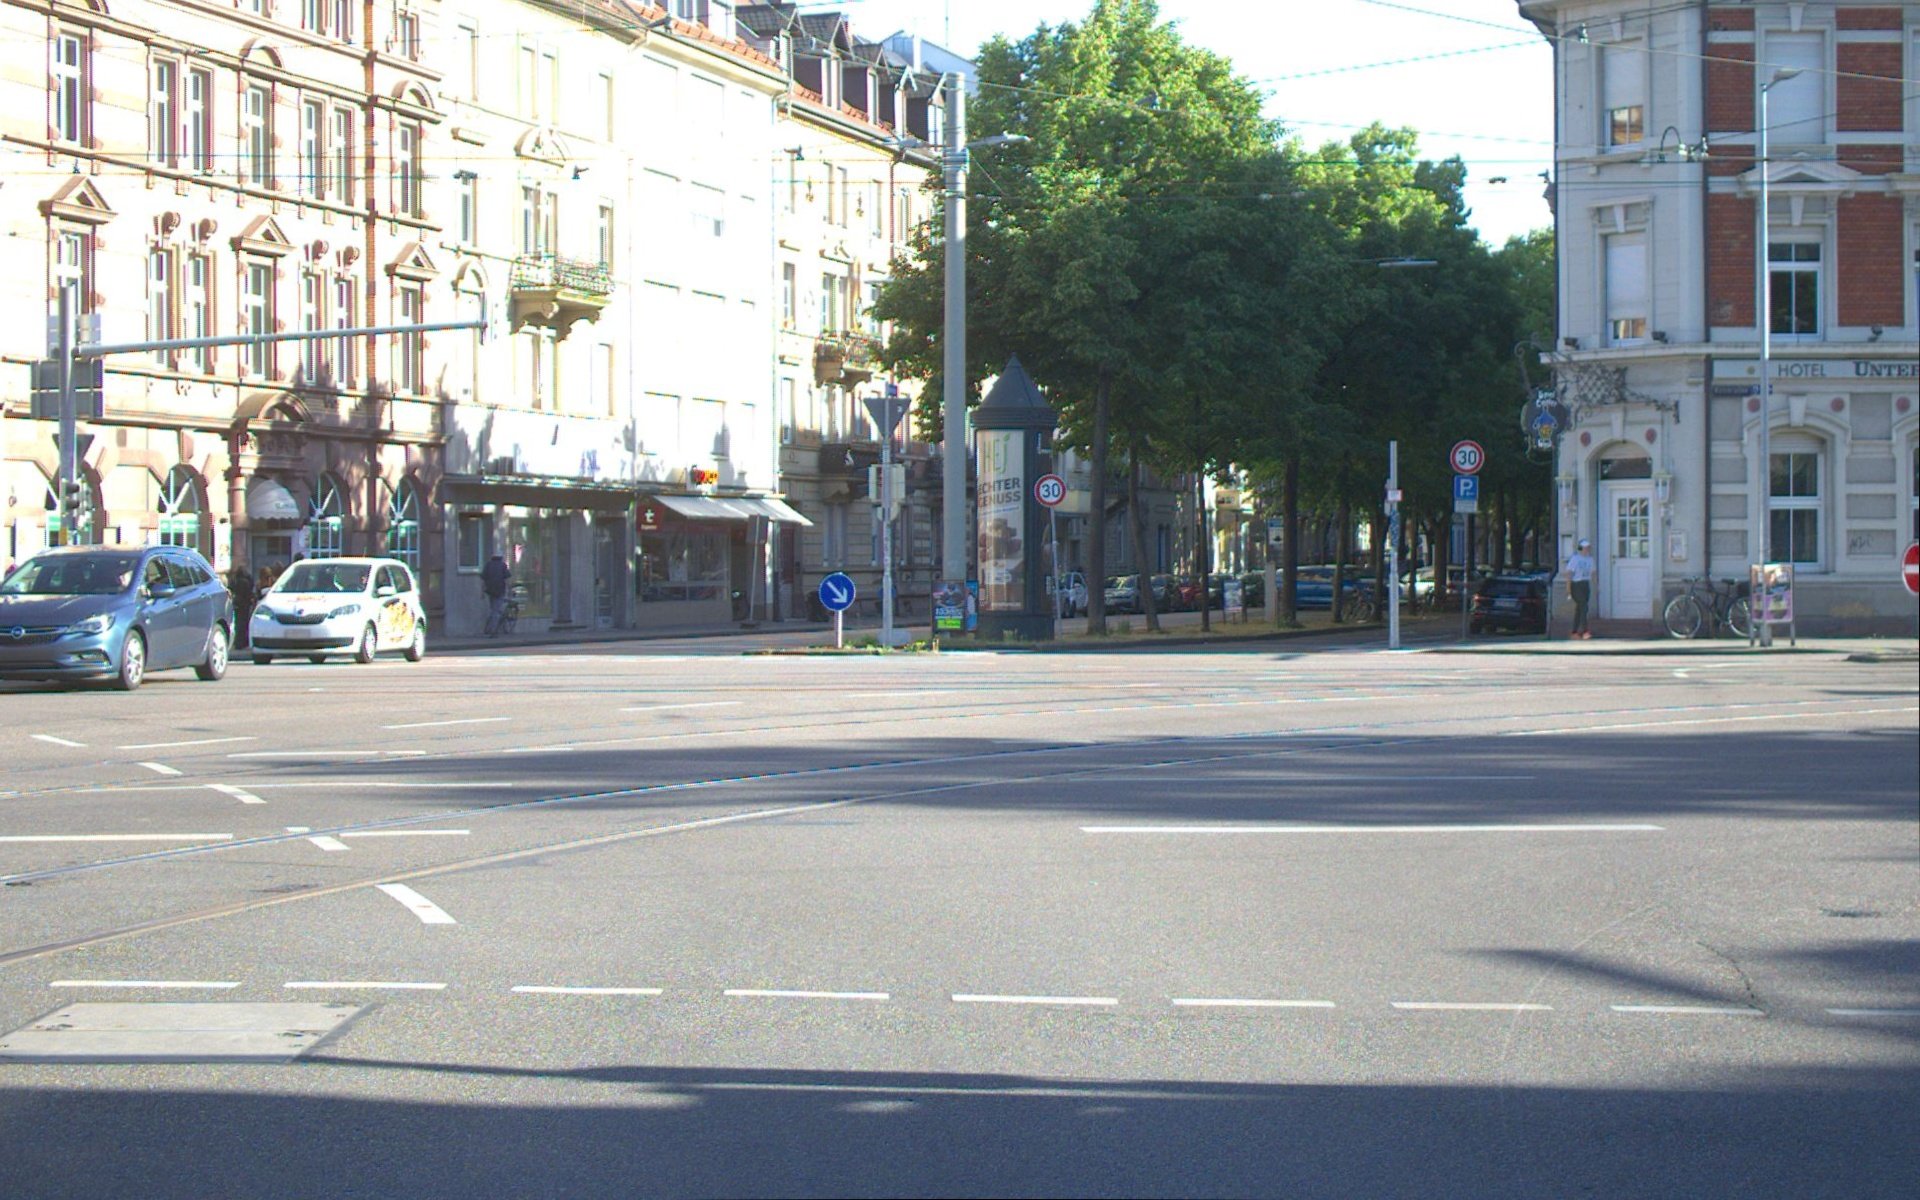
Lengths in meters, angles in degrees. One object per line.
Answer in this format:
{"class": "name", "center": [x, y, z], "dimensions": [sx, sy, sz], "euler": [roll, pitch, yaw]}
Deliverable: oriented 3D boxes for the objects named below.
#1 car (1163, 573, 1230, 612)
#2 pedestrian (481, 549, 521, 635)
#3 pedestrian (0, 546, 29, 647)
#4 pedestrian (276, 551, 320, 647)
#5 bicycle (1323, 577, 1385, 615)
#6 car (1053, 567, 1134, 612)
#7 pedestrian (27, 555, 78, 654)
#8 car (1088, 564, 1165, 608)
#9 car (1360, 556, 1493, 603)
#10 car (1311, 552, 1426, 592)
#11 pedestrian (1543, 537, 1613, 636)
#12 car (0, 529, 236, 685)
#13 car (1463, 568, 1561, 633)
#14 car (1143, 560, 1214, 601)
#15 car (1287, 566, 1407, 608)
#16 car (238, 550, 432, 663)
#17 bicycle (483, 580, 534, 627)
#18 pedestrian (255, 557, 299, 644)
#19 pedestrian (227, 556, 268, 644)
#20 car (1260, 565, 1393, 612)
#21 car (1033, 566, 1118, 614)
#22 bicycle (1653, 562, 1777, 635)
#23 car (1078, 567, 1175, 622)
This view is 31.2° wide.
{"class": "car", "center": [9.407, -0.312, 136.530], "dimensions": [1.995, 1.492, 4.031], "euler": [0, 1, 14]}
{"class": "pedestrian", "center": [-10.216, -0.179, 76.476], "dimensions": [0.682, 1.902, 0.632], "euler": [0, 1, 16]}
{"class": "pedestrian", "center": [-15.553, -0.058, 55.743], "dimensions": [0.675, 1.636, 0.578], "euler": [0, 1, 13]}
{"class": "pedestrian", "center": [-12.729, -0.020, 66.111], "dimensions": [0.580, 1.830, 0.632], "euler": [0, 1, 16]}
{"class": "bicycle", "center": [11.373, -0.130, 99.248], "dimensions": [0.582, 1.063, 1.949], "euler": [-1, 1, -37]}
{"class": "car", "center": [4.580, -0.371, 117.358], "dimensions": [1.995, 1.492, 4.031], "euler": [0, 1, 14]}
{"class": "pedestrian", "center": [-15.108, 0.066, 57.223], "dimensions": [0.631, 1.636, 0.552], "euler": [0, 1, 13]}
{"class": "car", "center": [5.971, -0.518, 122.592], "dimensions": [1.995, 1.492, 4.031], "euler": [0, 1, 14]}
{"class": "car", "center": [15.790, -0.693, 116.385], "dimensions": [3.994, 1.540, 1.997], "euler": [0, 1, 31]}
{"class": "car", "center": [15.962, -1.097, 134.388], "dimensions": [3.993, 1.540, 1.997], "euler": [0, 1, 28]}
{"class": "pedestrian", "center": [10.505, -0.235, 58.433], "dimensions": [0.939, 1.664, 0.716], "euler": [1, 1, 45]}
{"class": "car", "center": [-8.954, 0.031, 35.336], "dimensions": [1.774, 1.492, 4.573], "euler": [0, 1, 4]}
{"class": "car", "center": [13.265, 0.000, 82.413], "dimensions": [1.995, 1.492, 4.031], "euler": [0, 1, 14]}
{"class": "car", "center": [8.394, -0.755, 131.761], "dimensions": [1.995, 1.492, 4.031], "euler": [0, 1, 14]}
{"class": "car", "center": [14.438, -0.493, 128.302], "dimensions": [3.993, 1.540, 1.997], "euler": [0, 1, 28]}
{"class": "car", "center": [-8.604, 0.064, 47.582], "dimensions": [1.718, 1.492, 3.583], "euler": [0, 1, 5]}
{"class": "bicycle", "center": [-10.435, 0.072, 79.551], "dimensions": [0.495, 1.063, 1.768], "euler": [0, 1, 16]}
{"class": "pedestrian", "center": [-12.877, 0.004, 64.828], "dimensions": [0.551, 1.636, 0.632], "euler": [0, 1, 20]}
{"class": "pedestrian", "center": [-13.468, -0.003, 64.970], "dimensions": [0.551, 1.636, 0.537], "euler": [0, 1, 19]}
{"class": "car", "center": [12.316, -0.386, 115.663], "dimensions": [3.993, 1.540, 1.997], "euler": [0, 1, 28]}
{"class": "car", "center": [3.803, -0.337, 112.871], "dimensions": [1.995, 1.492, 4.031], "euler": [0, 1, 14]}
{"class": "bicycle", "center": [12.551, -0.029, 57.174], "dimensions": [1.961, 1.186, 0.546], "euler": [0, 1, 5]}
{"class": "car", "center": [4.733, -0.168, 97.343], "dimensions": [1.995, 1.492, 4.031], "euler": [0, 1, 14]}
